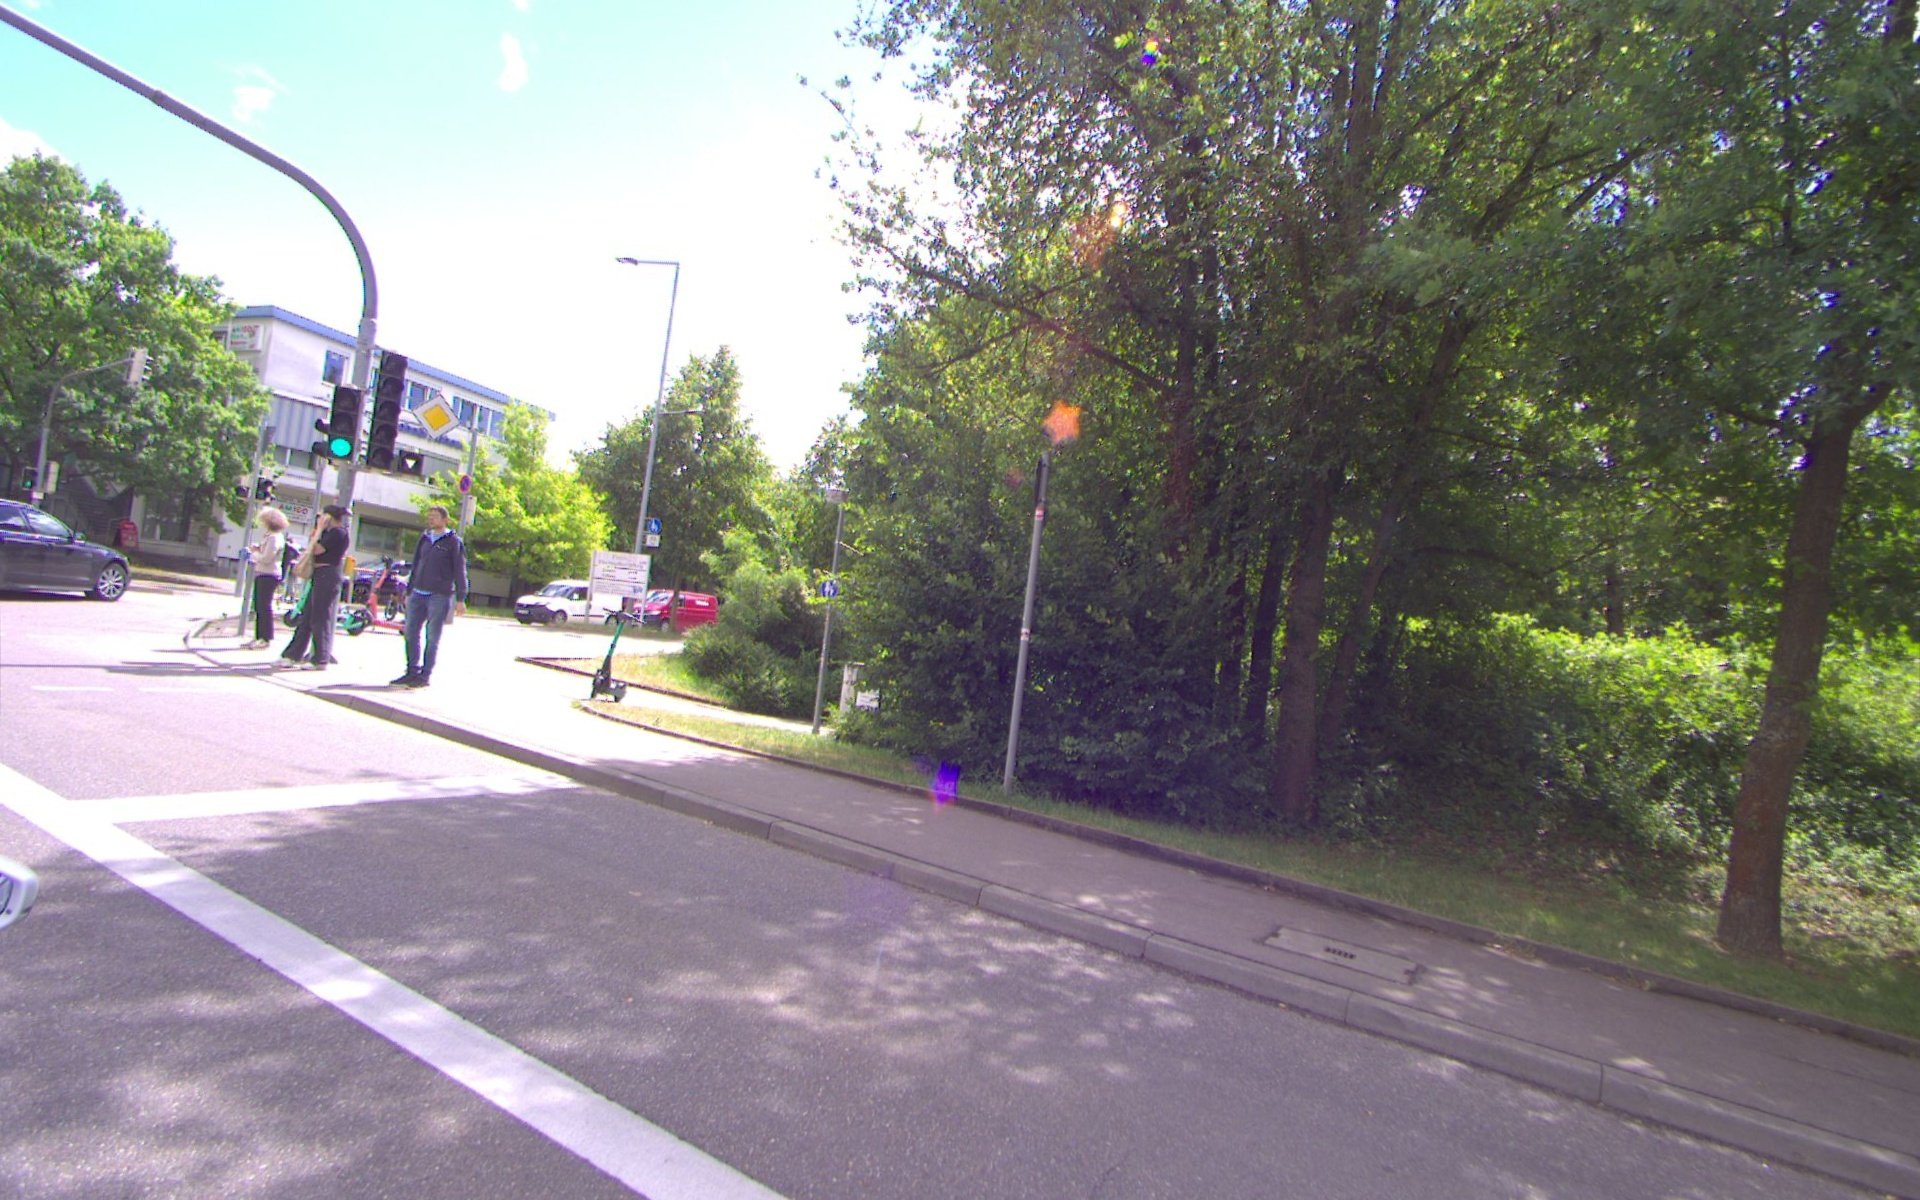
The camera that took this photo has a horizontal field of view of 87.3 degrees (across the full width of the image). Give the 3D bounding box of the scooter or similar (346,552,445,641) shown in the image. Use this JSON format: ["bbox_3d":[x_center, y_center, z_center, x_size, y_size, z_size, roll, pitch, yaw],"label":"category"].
[{"bbox_3d":[-9.362,-0.038,16.701,0.546,1.286,1.152,7,-2,35],"label":"scooter or similar"}]

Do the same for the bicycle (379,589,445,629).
[{"bbox_3d":[-11.146,0.179,20.430,1.566,0.617,0.533,7,-1,38],"label":"bicycle"}]

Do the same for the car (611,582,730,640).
[{"bbox_3d":[-12.303,0.519,43.099,1.964,1.820,4.979,7,-2,25],"label":"car"}]

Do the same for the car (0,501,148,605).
[{"bbox_3d":[-14.519,-0.779,14.797,1.875,1.438,4.533,8,-2,-9],"label":"car"}]

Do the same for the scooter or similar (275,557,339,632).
[{"bbox_3d":[-10.661,-0.096,16.411,0.546,1.076,1.246,9,-1,-43],"label":"scooter or similar"}]

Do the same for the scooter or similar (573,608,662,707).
[{"bbox_3d":[-4.835,0.825,14.239,0.447,1.242,0.893,7,-6,33],"label":"scooter or similar"}]

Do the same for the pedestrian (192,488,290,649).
[{"bbox_3d":[-8.473,-0.368,11.865,0.510,1.787,0.636,7,-1,39],"label":"pedestrian"}]

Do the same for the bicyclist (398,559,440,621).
[{"bbox_3d":[-10.917,-0.199,20.304,0.394,1.170,0.501,7,-1,38],"label":"bicyclist"}]

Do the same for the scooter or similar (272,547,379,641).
[{"bbox_3d":[-9.513,-0.075,15.111,0.531,1.249,1.111,7,-1,35],"label":"scooter or similar"}]

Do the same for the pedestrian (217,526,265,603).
[{"bbox_3d":[-17.379,-0.852,24.326,0.653,1.731,0.458,10,-4,-31],"label":"pedestrian"}]

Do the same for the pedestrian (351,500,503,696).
[{"bbox_3d":[-5.641,0.000,10.714,0.783,1.897,1.014,8,-1,4],"label":"pedestrian"}]

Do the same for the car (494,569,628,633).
[{"bbox_3d":[-14.807,0.080,37.611,1.964,1.784,4.388,7,-2,24],"label":"car"}]

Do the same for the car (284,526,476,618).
[{"bbox_3d":[-17.421,-0.765,30.473,1.964,2.036,4.551,7,-2,25],"label":"car"}]

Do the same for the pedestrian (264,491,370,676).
[{"bbox_3d":[-6.971,-0.175,10.915,0.510,1.898,0.636,7,-1,39],"label":"pedestrian"}]
